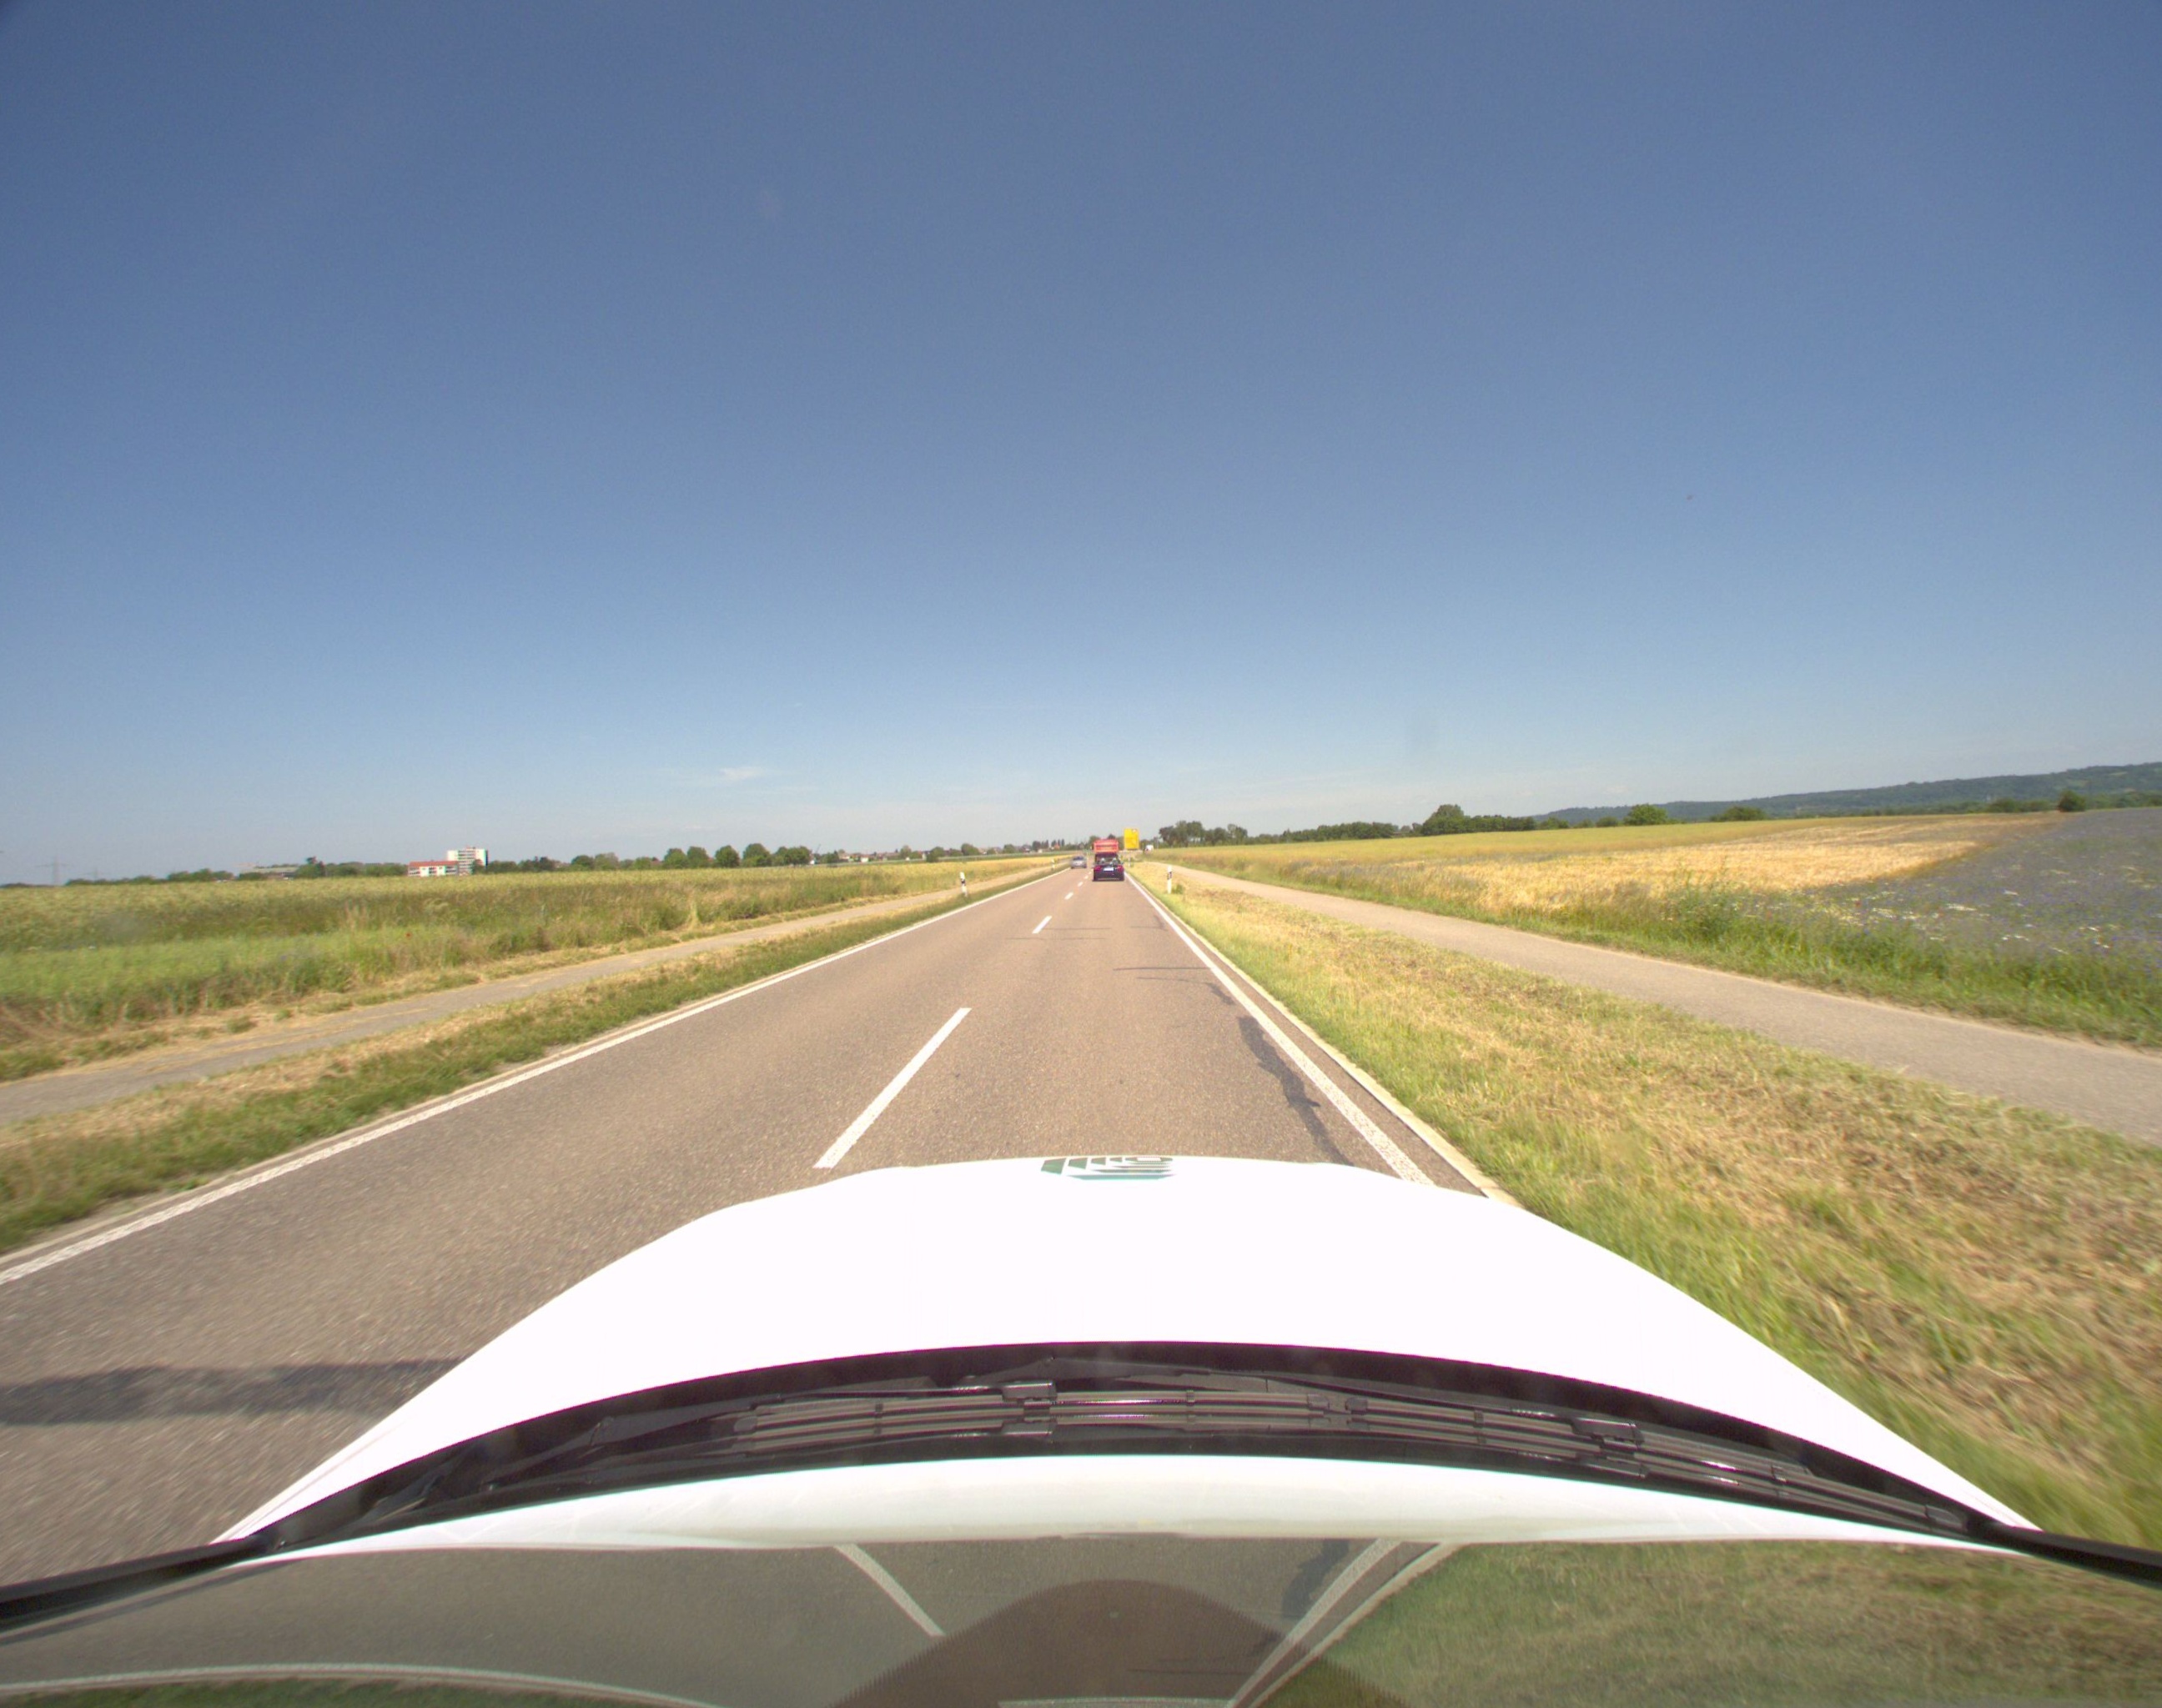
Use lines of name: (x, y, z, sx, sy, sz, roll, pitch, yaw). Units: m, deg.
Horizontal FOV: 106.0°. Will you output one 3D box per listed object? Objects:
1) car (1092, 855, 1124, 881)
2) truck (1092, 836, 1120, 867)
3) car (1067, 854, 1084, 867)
car: (1.535, 0.781, 46.534, 1.741, 1.375, 3.680, 0, -1, 2)
truck: (2.681, -0.238, 87.525, 2.704, 3.052, 8.167, -1, -1, 2)
car: (-0.620, 0.746, 90.752, 1.741, 1.400, 4.033, -1, -1, 2)
